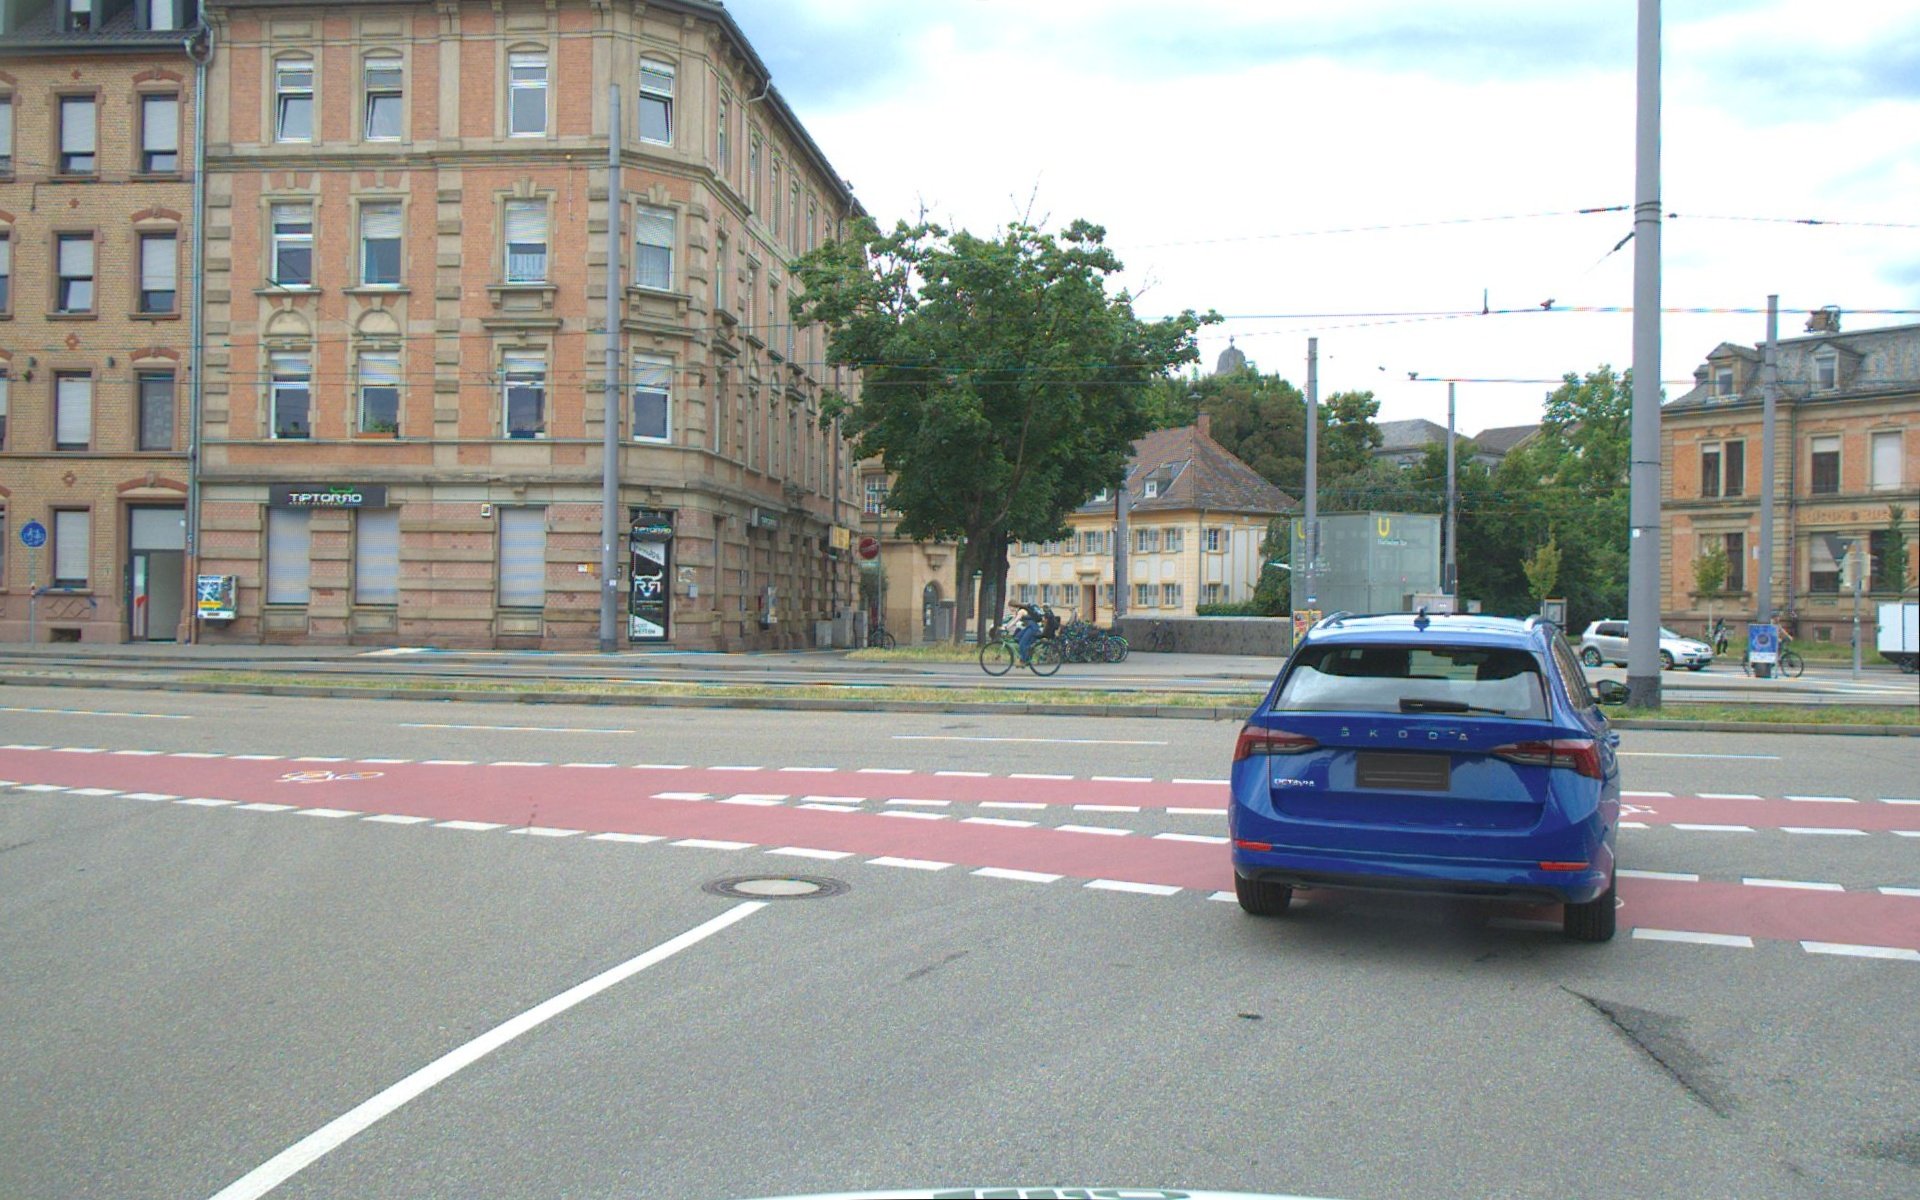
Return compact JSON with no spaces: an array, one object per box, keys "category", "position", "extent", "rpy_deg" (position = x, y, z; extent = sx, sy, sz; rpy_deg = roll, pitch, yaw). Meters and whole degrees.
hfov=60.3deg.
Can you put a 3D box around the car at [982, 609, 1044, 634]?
[{"category":"car","position":[3.257,1.305,101.869],"extent":[1.678,1.474,4.134],"rpy_deg":[1,0,-36]}]

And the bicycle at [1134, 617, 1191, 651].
[{"category":"bicycle","position":[7.108,1.174,58.070],"extent":[0.730,1.134,2.339],"rpy_deg":[1,0,-30]}]

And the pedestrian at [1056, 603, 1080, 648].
[{"category":"pedestrian","position":[4.261,1.003,65.376],"extent":[0.826,1.753,0.953],"rpy_deg":[0,0,10]}]

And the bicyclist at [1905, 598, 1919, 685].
[{"category":"bicyclist","position":[20.574,0.875,34.863],"extent":[0.796,1.830,1.030],"rpy_deg":[-1,-1,9]}]

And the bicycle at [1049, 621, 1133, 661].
[{"category":"bicycle","position":[3.489,1.091,43.966],"extent":[2.167,1.024,0.480],"rpy_deg":[0,0,17]}]

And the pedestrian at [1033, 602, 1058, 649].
[{"category":"pedestrian","position":[3.261,0.955,62.868],"extent":[0.826,1.753,0.953],"rpy_deg":[0,0,10]}]

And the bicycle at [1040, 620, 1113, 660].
[{"category":"bicycle","position":[3.012,1.029,42.727],"extent":[1.823,1.004,0.500],"rpy_deg":[0,-1,15]}]

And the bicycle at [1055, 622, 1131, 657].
[{"category":"bicycle","position":[3.914,1.159,48.797],"extent":[2.167,1.004,0.585],"rpy_deg":[0,0,17]}]

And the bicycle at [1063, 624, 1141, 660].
[{"category":"bicycle","position":[4.086,1.206,47.577],"extent":[2.167,1.004,0.585],"rpy_deg":[0,0,17]}]

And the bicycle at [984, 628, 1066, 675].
[{"category":"bicycle","position":[1.344,1.064,34.233],"extent":[1.678,0.931,0.608],"rpy_deg":[0,0,3]}]

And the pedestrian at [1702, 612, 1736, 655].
[{"category":"pedestrian","position":[32.052,1.392,69.840],"extent":[0.753,1.794,1.109],"rpy_deg":[1,-1,-45]}]

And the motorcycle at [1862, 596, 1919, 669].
[{"category":"motorcycle","position":[28.046,0.929,47.273],"extent":[1.675,2.049,3.644],"rpy_deg":[1,0,-34]}]

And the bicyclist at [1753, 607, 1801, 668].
[{"category":"bicyclist","position":[22.392,1.036,45.335],"extent":[0.844,1.651,0.907],"rpy_deg":[2,-1,-33]}]

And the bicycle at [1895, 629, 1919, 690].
[{"category":"bicycle","position":[20.578,1.251,34.905],"extent":[0.796,1.264,2.001],"rpy_deg":[-1,-2,9]}]

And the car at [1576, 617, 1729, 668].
[{"category":"car","position":[21.238,1.264,50.864],"extent":[1.739,1.479,4.115],"rpy_deg":[1,0,-32]}]

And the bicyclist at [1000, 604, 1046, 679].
[{"category":"bicyclist","position":[1.314,0.850,34.236],"extent":[0.919,1.520,0.664],"rpy_deg":[0,0,3]}]

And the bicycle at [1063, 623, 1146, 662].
[{"category":"bicycle","position":[3.901,1.131,44.655],"extent":[2.167,1.004,0.500],"rpy_deg":[0,0,17]}]

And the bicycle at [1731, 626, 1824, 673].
[{"category":"bicycle","position":[22.382,1.337,45.332],"extent":[0.846,1.229,2.173],"rpy_deg":[2,-1,-32]}]

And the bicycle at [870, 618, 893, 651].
[{"category":"bicycle","position":[-2.284,1.006,48.371],"extent":[0.647,0.930,1.989],"rpy_deg":[0,0,-2]}]

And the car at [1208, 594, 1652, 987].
[{"category":"car","position":[2.680,0.769,8.869],"extent":[1.743,1.514,4.465],"rpy_deg":[1,0,21]}]

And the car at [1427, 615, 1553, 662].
[{"category":"car","position":[17.926,1.277,56.127],"extent":[1.672,1.474,4.105],"rpy_deg":[0,0,-28]}]

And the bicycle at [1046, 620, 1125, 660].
[{"category":"bicycle","position":[3.291,1.048,43.435],"extent":[1.988,1.004,0.522],"rpy_deg":[0,0,17]}]
